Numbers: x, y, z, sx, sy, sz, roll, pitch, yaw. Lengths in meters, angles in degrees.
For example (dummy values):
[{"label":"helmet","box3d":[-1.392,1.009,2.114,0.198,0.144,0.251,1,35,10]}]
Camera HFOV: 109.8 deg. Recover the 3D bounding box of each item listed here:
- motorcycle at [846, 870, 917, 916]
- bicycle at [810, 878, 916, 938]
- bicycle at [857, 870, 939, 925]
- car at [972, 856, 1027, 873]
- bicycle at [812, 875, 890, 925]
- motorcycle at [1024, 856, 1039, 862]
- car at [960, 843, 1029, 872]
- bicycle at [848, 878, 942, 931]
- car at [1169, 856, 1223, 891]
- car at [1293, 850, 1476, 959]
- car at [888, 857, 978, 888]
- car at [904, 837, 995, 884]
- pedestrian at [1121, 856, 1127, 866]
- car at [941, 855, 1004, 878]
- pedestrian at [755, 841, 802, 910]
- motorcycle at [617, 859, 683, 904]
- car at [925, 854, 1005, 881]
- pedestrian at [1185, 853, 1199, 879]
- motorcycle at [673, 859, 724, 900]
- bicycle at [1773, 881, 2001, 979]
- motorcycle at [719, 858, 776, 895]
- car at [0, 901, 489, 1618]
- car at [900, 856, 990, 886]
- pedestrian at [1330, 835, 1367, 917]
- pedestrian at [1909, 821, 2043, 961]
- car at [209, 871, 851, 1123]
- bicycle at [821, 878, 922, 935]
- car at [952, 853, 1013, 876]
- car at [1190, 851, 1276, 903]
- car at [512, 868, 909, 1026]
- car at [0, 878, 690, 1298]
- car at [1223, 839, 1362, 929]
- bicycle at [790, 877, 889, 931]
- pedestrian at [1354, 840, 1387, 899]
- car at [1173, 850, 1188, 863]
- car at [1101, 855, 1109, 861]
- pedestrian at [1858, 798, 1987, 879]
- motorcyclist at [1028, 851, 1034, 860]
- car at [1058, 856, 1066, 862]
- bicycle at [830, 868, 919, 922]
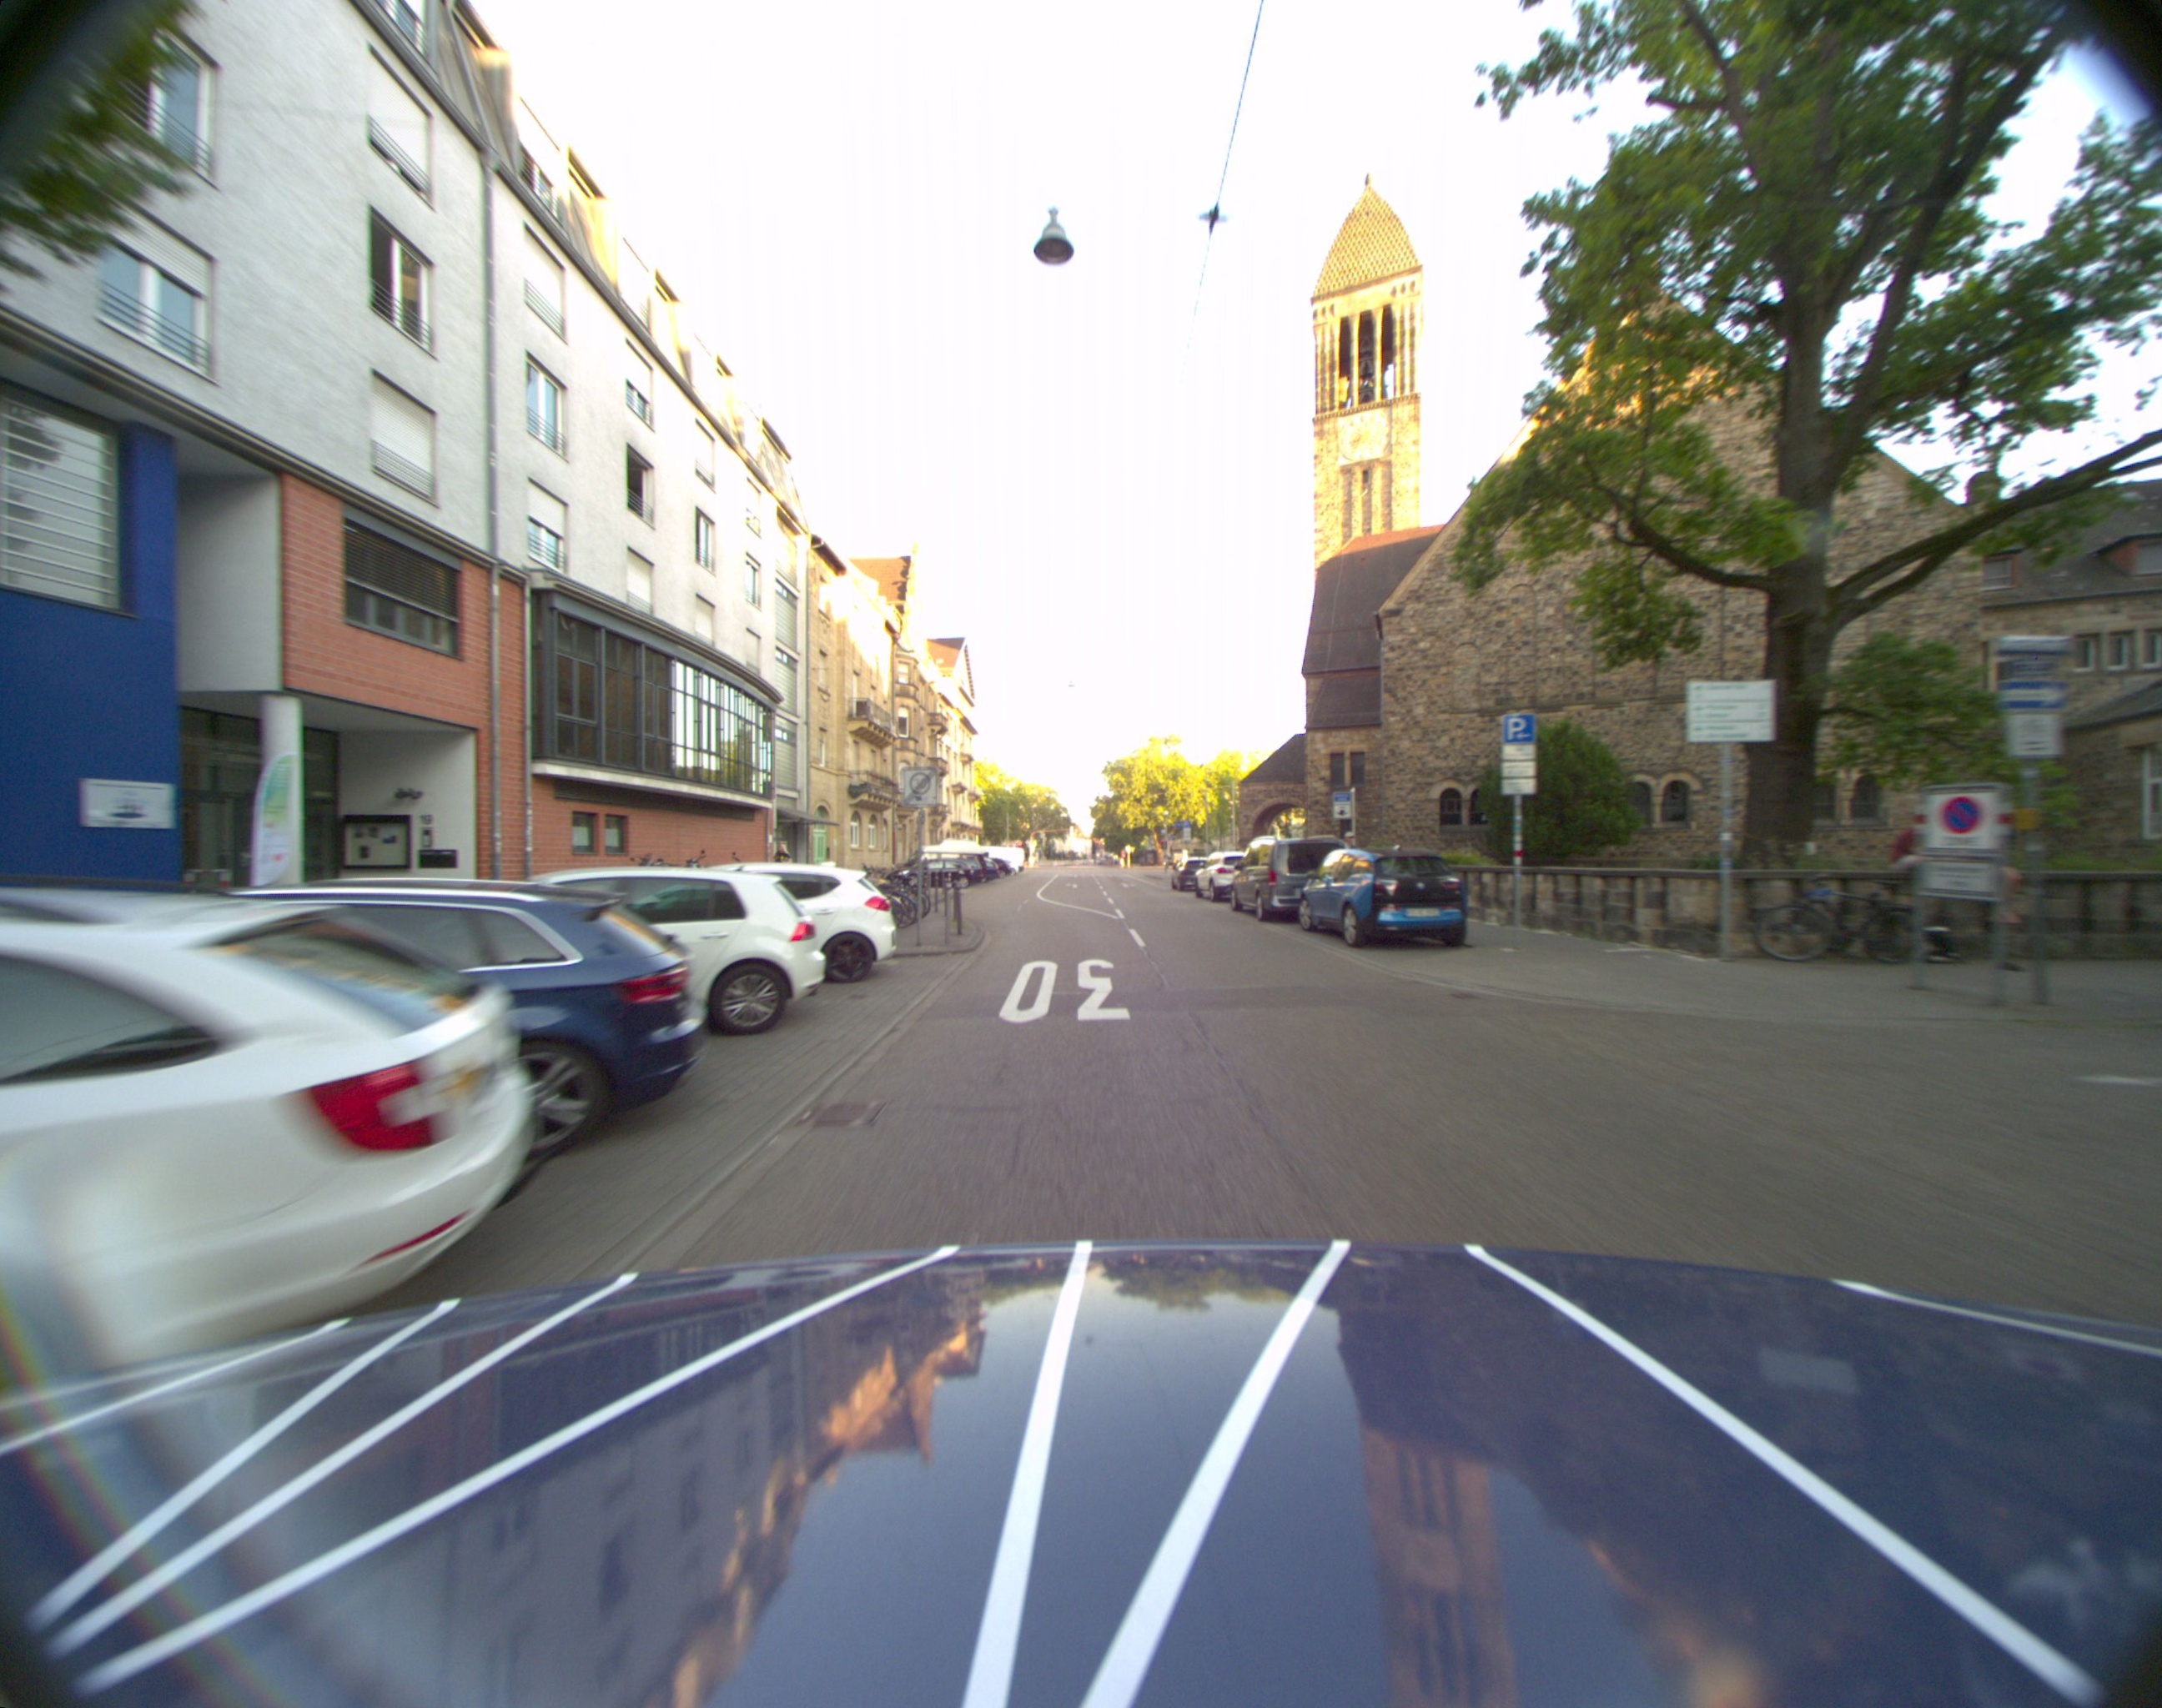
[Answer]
[{"label":"motorcycle","box3d":[-5.027,0.990,19.228,1.650,1.095,0.646,2,0,-9]},{"label":"bicycle","box3d":[-4.164,1.028,14.573,1.862,1.059,0.445,2,0,-2]},{"label":"bicycle","box3d":[-4.128,0.979,17.190,1.712,1.169,0.472,2,0,-2]},{"label":"car","box3d":[-7.096,0.927,66.333,4.264,1.445,1.994,1,1,-38]},{"label":"bicycle","box3d":[-5.028,1.007,16.629,1.544,1.032,0.472,2,0,-2]},{"label":"motorcycle","box3d":[-7.909,0.759,122.202,2.288,0.917,0.621,0,0,-25]},{"label":"car","box3d":[-7.811,0.341,69.048,5.898,2.537,2.189,1,2,-41]},{"label":"bicycle","box3d":[-3.935,1.064,16.128,1.862,1.032,0.472,2,0,-2]},{"label":"car","box3d":[4.977,0.789,33.358,1.787,1.427,4.316,0,0,1]},{"label":"car","box3d":[4.988,0.748,13.099,1.644,1.546,4.004,-2,0,2]},{"label":"car","box3d":[-7.390,0.880,38.110,4.076,1.483,1.719,0,0,-31]},{"label":"car","box3d":[-7.432,0.326,43.127,4.733,2.532,1.913,0,1,-29]},{"label":"pedestrian","box3d":[6.689,1.048,117.360,0.745,1.619,0.660,0,0,17]},{"label":"car","box3d":[-7.703,0.878,54.179,4.066,1.489,1.749,2,0,-35]},{"label":"pedestrian","box3d":[-9.211,0.642,23.176,0.608,2.002,0.857,14,1,1]},{"label":"motorcycle","box3d":[-11.308,0.698,20.016,0.590,1.097,2.083,2,0,-3]},{"label":"car","box3d":[-7.023,0.820,46.059,4.407,1.478,1.839,2,0,-30]},{"label":"pedestrian","box3d":[7.412,0.771,50.758,0.716,1.715,0.691,0,1,-10]},{"label":"motorcycle","box3d":[-11.250,0.721,22.429,0.778,1.133,2.413,1,0,-13]},{"label":"bicycle","box3d":[9.762,0.910,9.244,2.145,1.127,0.555,0,1,1]},{"label":"motorcycle","box3d":[-11.141,0.731,25.488,0.802,1.133,2.440,2,0,0]},{"label":"car","box3d":[-4.014,0.972,1.739,4.007,1.528,1.632,0,0,-31]},{"label":"car","box3d":[-7.261,0.883,40.609,4.363,1.494,1.909,0,0,-28]},{"label":"pedestrian","box3d":[6.333,0.518,18.016,0.584,1.894,0.803,0,0,-3]},{"label":"pedestrian","box3d":[11.347,0.450,9.666,0.708,1.711,0.837,0,1,-2]},{"label":"car","box3d":[-4.297,0.947,6.656,4.007,1.464,1.870,0,2,-33]},{"label":"bicycle","box3d":[-4.165,1.042,15.146,1.862,1.059,0.445,2,0,-2]},{"label":"car","box3d":[-7.378,0.827,57.055,4.108,1.598,1.811,2,0,-38]},{"label":"car","box3d":[4.958,0.693,25.412,1.876,1.582,4.468,0,0,-2]},{"label":"car","box3d":[-4.333,0.961,9.313,4.006,1.498,1.766,0,0,-29]},{"label":"car","box3d":[-4.293,0.952,3.864,4.007,1.514,1.705,0,2,-31]},{"label":"car","box3d":[4.867,0.625,18.361,1.998,1.855,5.290,-1,0,1]},{"label":"bicycle","box3d":[-4.937,1.026,15.561,1.862,1.032,0.402,2,0,-2]},{"label":"pedestrian","box3d":[6.957,0.365,18.281,0.533,1.397,0.659,-2,1,0]},{"label":"car","box3d":[15.257,0.350,116.157,1.865,2.002,3.815,0,0,15]},{"label":"car","box3d":[6.026,0.942,193.963,1.827,1.565,4.001,-1,0,4]},{"label":"pedestrian","box3d":[10.620,-0.186,9.621,0.708,0.975,0.837,0,0,-2]},{"label":"motorcyclist","box3d":[-8.051,0.285,122.136,0.830,1.510,0.621,0,0,-25]},{"label":"car","box3d":[-4.928,1.334,198.535,1.794,1.571,4.001,0,0,3]},{"label":"bicycle","box3d":[-4.839,0.957,17.875,1.864,1.139,0.659,3,0,0]}]
